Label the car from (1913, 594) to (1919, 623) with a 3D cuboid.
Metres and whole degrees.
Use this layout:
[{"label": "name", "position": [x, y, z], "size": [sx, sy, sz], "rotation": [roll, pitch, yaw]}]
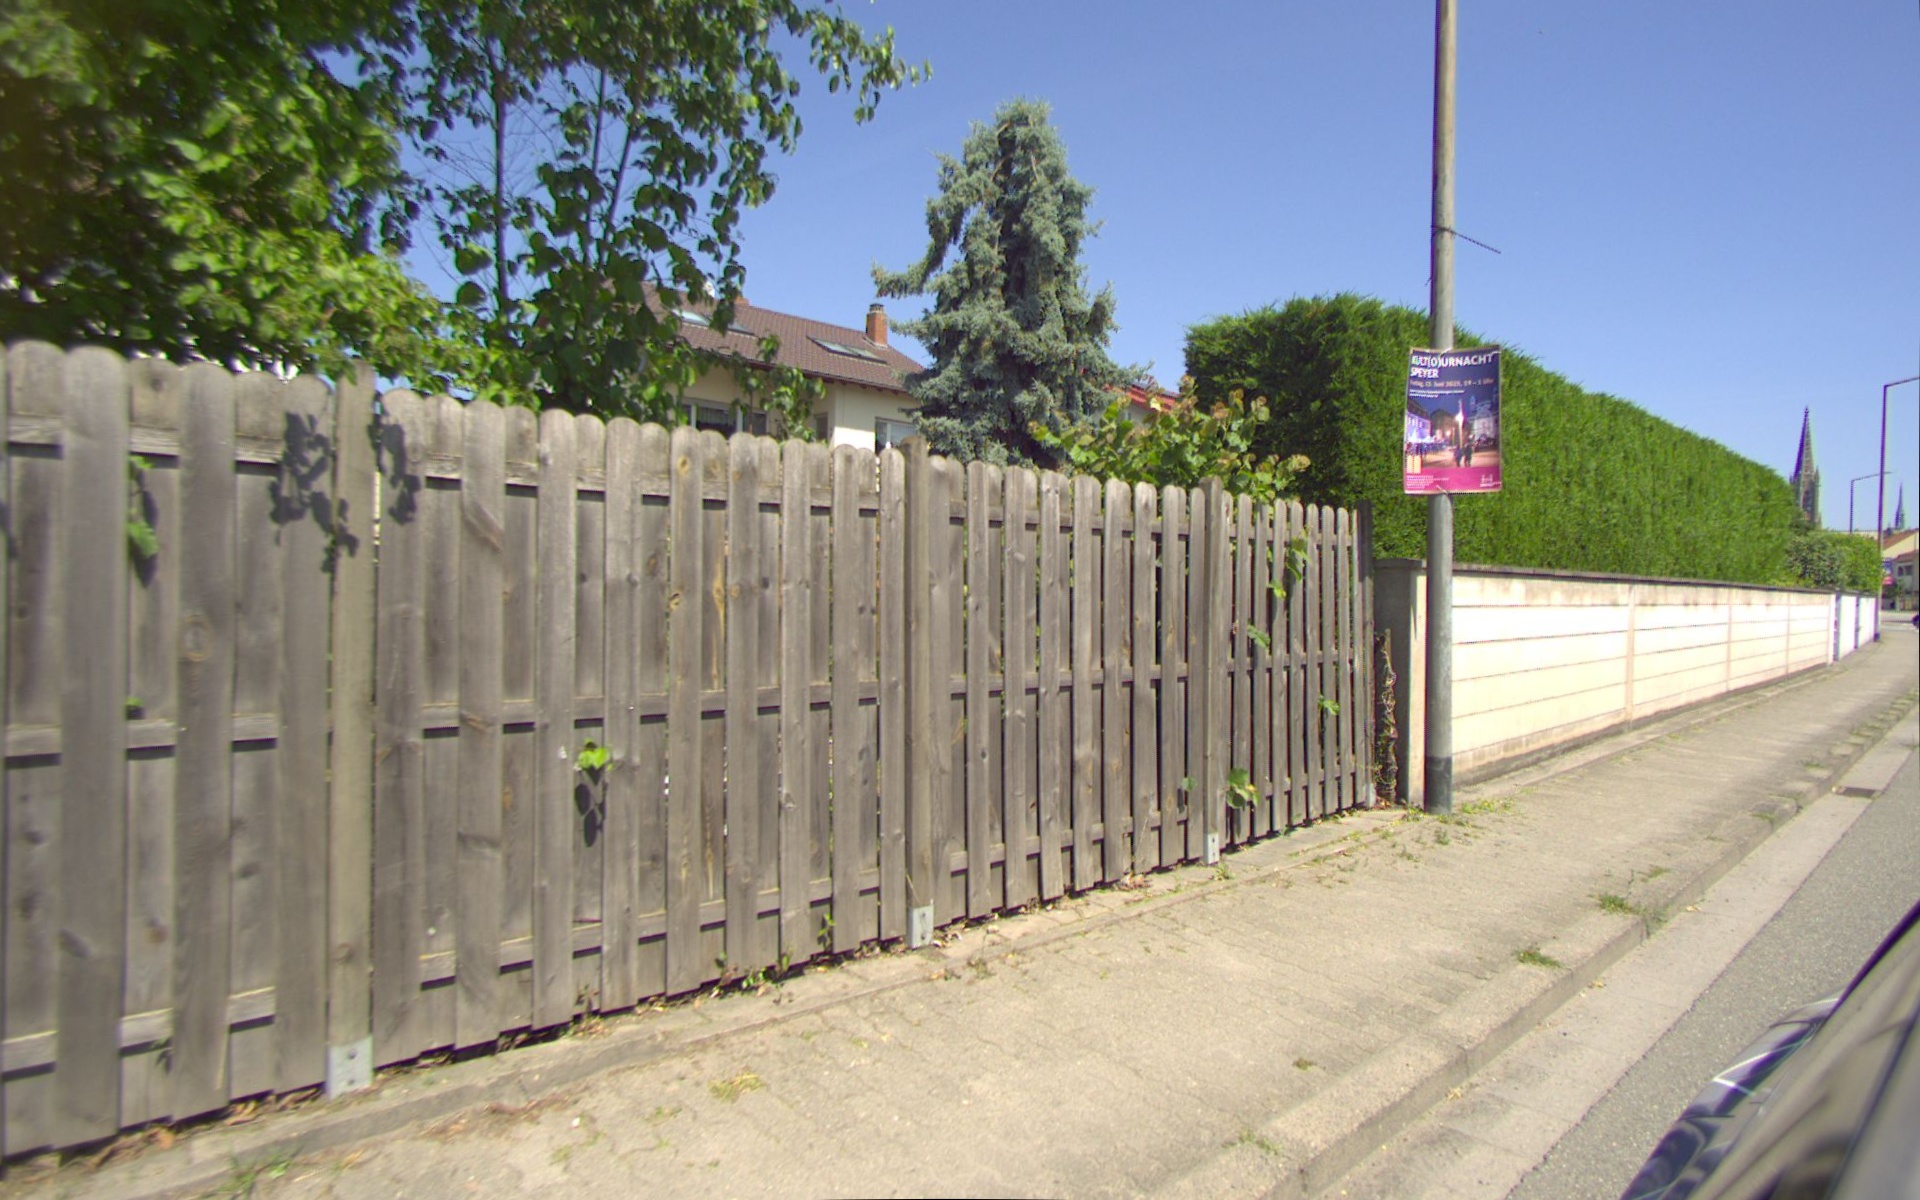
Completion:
[{"label": "car", "position": [51.621, 0.449, 52.155], "size": [1.702, 1.552, 3.821], "rotation": [0, 0, 9]}]
